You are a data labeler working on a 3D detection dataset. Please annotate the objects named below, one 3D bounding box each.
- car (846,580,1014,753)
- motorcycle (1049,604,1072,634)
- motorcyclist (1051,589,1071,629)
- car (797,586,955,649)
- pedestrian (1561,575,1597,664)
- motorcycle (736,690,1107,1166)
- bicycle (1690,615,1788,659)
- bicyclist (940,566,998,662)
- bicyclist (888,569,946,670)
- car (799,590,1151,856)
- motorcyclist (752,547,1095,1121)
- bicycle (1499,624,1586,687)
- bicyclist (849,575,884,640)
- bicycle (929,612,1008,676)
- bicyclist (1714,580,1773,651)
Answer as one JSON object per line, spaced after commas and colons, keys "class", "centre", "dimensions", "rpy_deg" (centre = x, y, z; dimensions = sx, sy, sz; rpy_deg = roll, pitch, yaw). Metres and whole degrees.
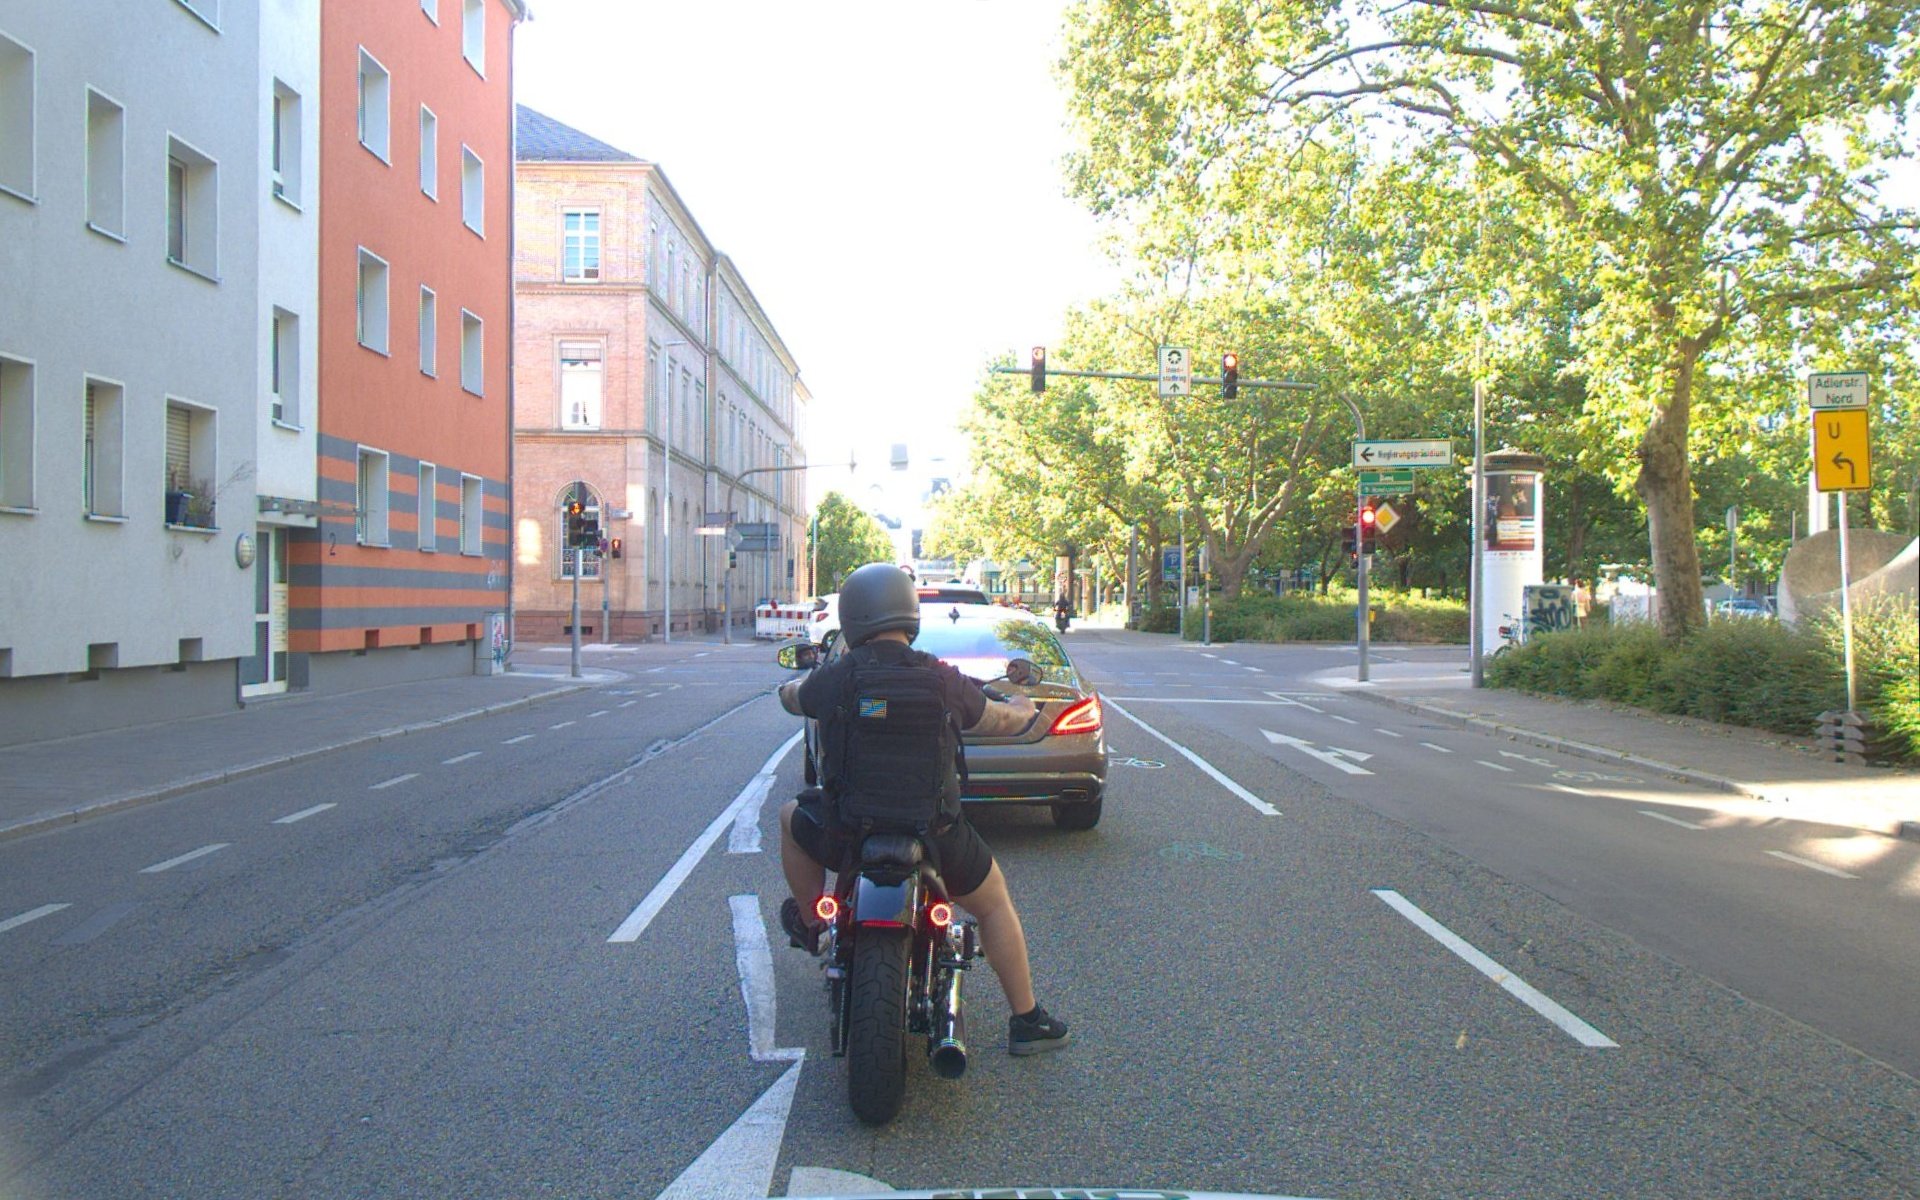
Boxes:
{"class": "car", "centre": [-0.336, 0.617, 17.753], "dimensions": [1.580, 1.636, 4.327], "rpy_deg": [0, 0, -2]}
{"class": "motorcycle", "centre": [4.425, 0.815, 72.746], "dimensions": [0.821, 1.267, 2.283], "rpy_deg": [0, 0, -1]}
{"class": "motorcyclist", "centre": [4.441, 0.389, 72.741], "dimensions": [0.821, 1.732, 1.180], "rpy_deg": [0, 0, -1]}
{"class": "car", "centre": [-2.164, 0.442, 41.875], "dimensions": [3.823, 1.512, 1.858], "rpy_deg": [1, 0, -9]}
{"class": "pedestrian", "centre": [13.215, 0.421, 35.302], "dimensions": [0.540, 1.881, 0.593], "rpy_deg": [0, 0, 0]}
{"class": "motorcycle", "centre": [-0.117, 0.923, 5.549], "dimensions": [0.969, 1.097, 2.451], "rpy_deg": [0, 0, -1]}
{"class": "bicycle", "centre": [18.719, 0.891, 39.777], "dimensions": [1.965, 0.997, 0.767], "rpy_deg": [0, 3, 0]}
{"class": "bicyclist", "centre": [0.153, 0.250, 30.225], "dimensions": [0.693, 1.724, 1.040], "rpy_deg": [-1, -1, -23]}
{"class": "bicyclist", "centre": [-0.758, 0.334, 28.721], "dimensions": [0.694, 1.722, 0.957], "rpy_deg": [0, 0, -25]}
{"class": "car", "centre": [-0.113, 0.682, 11.589], "dimensions": [1.909, 1.498, 4.355], "rpy_deg": [0, 0, -7]}
{"class": "motorcyclist", "centre": [-0.112, 0.660, 5.395], "dimensions": [0.969, 1.625, 1.403], "rpy_deg": [0, 0, -1]}
{"class": "bicycle", "centre": [9.754, 0.920, 27.704], "dimensions": [1.324, 1.041, 0.363], "rpy_deg": [0, 0, 0]}
{"class": "bicyclist", "centre": [-2.574, 0.211, 45.514], "dimensions": [0.956, 1.773, 0.609], "rpy_deg": [0, 0, -6]}
{"class": "bicycle", "centre": [0.141, 0.786, 30.303], "dimensions": [0.693, 1.123, 2.149], "rpy_deg": [-1, 0, -21]}
{"class": "bicyclist", "centre": [18.811, 0.366, 39.724], "dimensions": [1.017, 1.642, 0.767], "rpy_deg": [0, 3, 0]}
